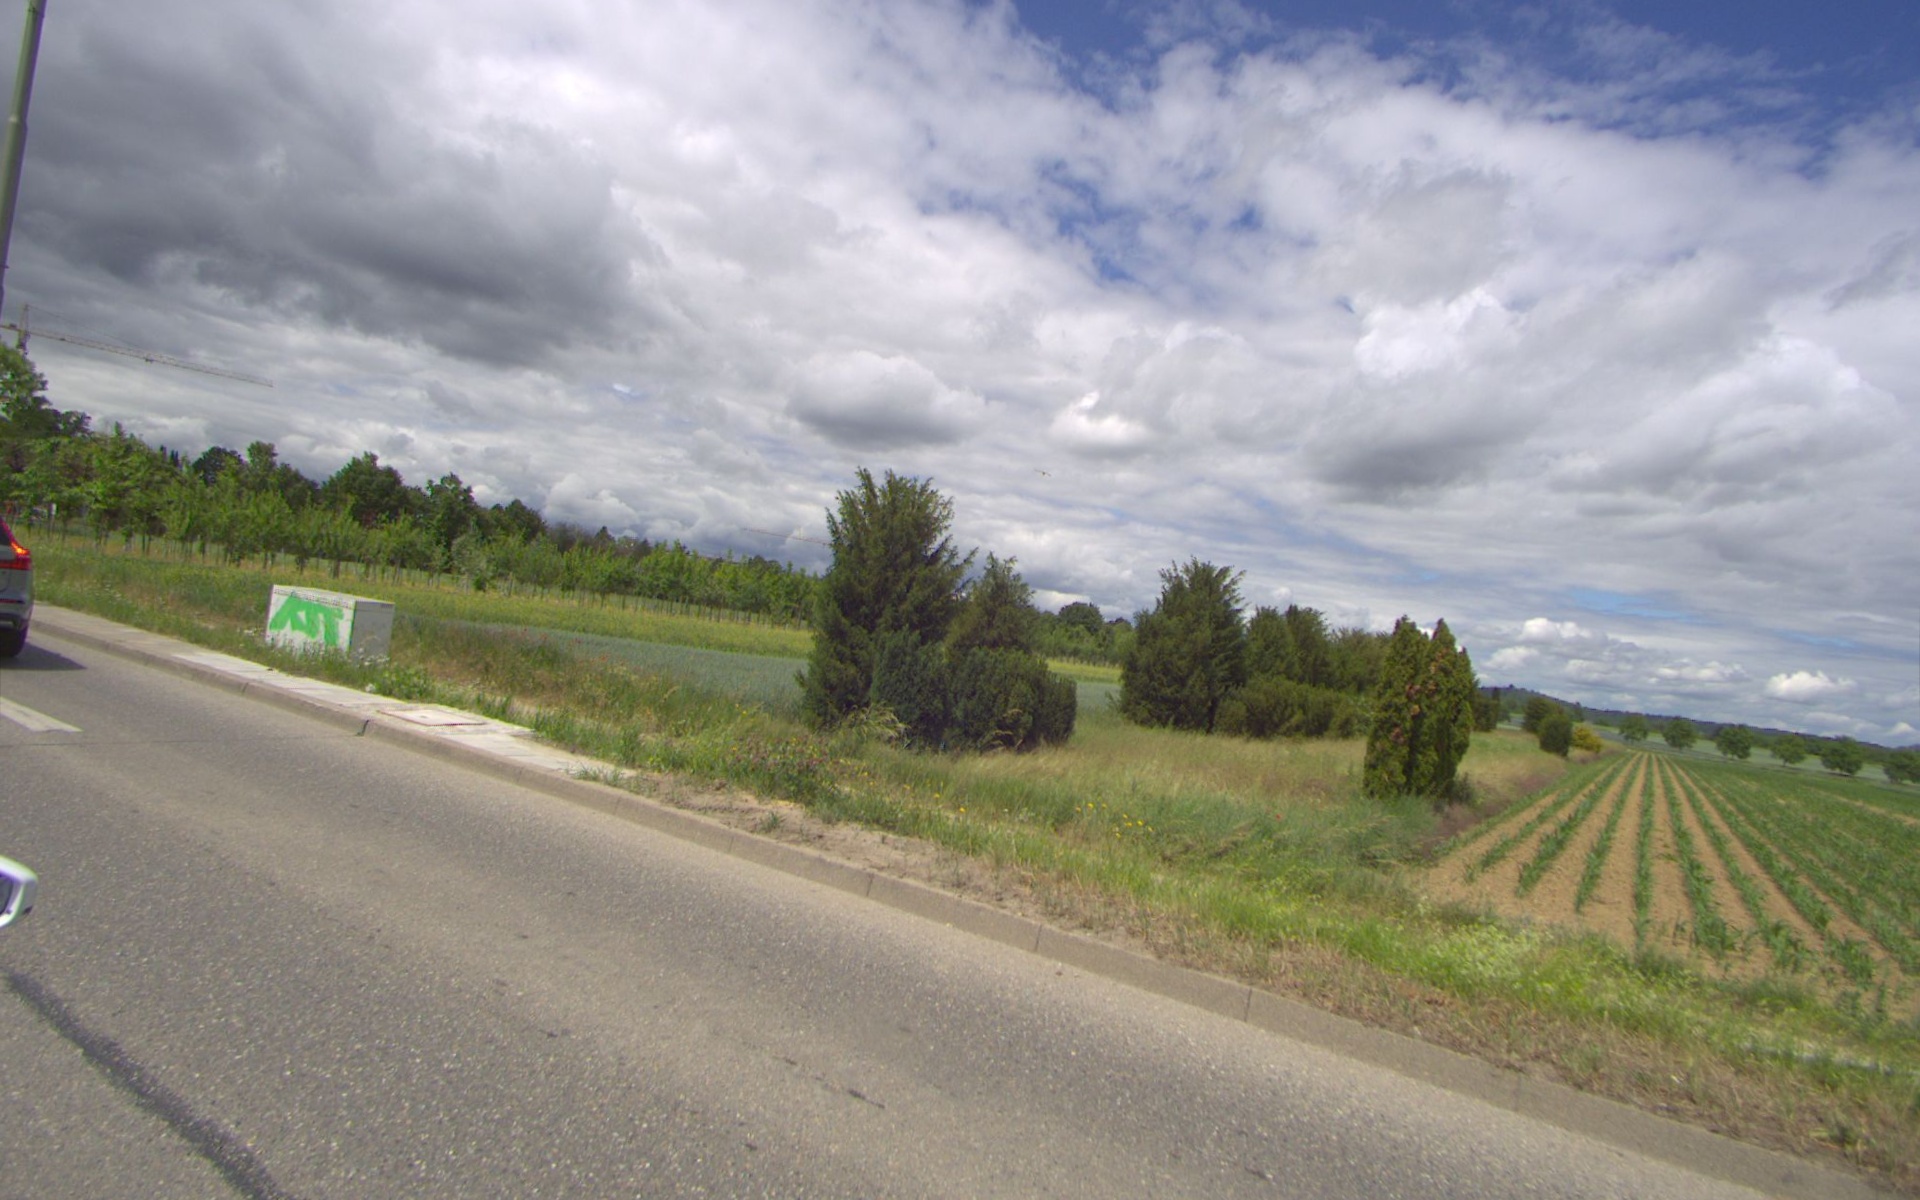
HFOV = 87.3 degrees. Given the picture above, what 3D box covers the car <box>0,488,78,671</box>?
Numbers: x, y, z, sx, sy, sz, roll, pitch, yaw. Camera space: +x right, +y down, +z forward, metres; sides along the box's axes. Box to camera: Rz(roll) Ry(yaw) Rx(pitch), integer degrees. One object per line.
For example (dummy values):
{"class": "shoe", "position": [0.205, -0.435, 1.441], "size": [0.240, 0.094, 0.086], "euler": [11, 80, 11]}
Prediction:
{"class": "car", "position": [-10.146, -0.394, 9.180], "size": [4.269, 1.544, 1.960], "euler": [6, 0, 32]}
